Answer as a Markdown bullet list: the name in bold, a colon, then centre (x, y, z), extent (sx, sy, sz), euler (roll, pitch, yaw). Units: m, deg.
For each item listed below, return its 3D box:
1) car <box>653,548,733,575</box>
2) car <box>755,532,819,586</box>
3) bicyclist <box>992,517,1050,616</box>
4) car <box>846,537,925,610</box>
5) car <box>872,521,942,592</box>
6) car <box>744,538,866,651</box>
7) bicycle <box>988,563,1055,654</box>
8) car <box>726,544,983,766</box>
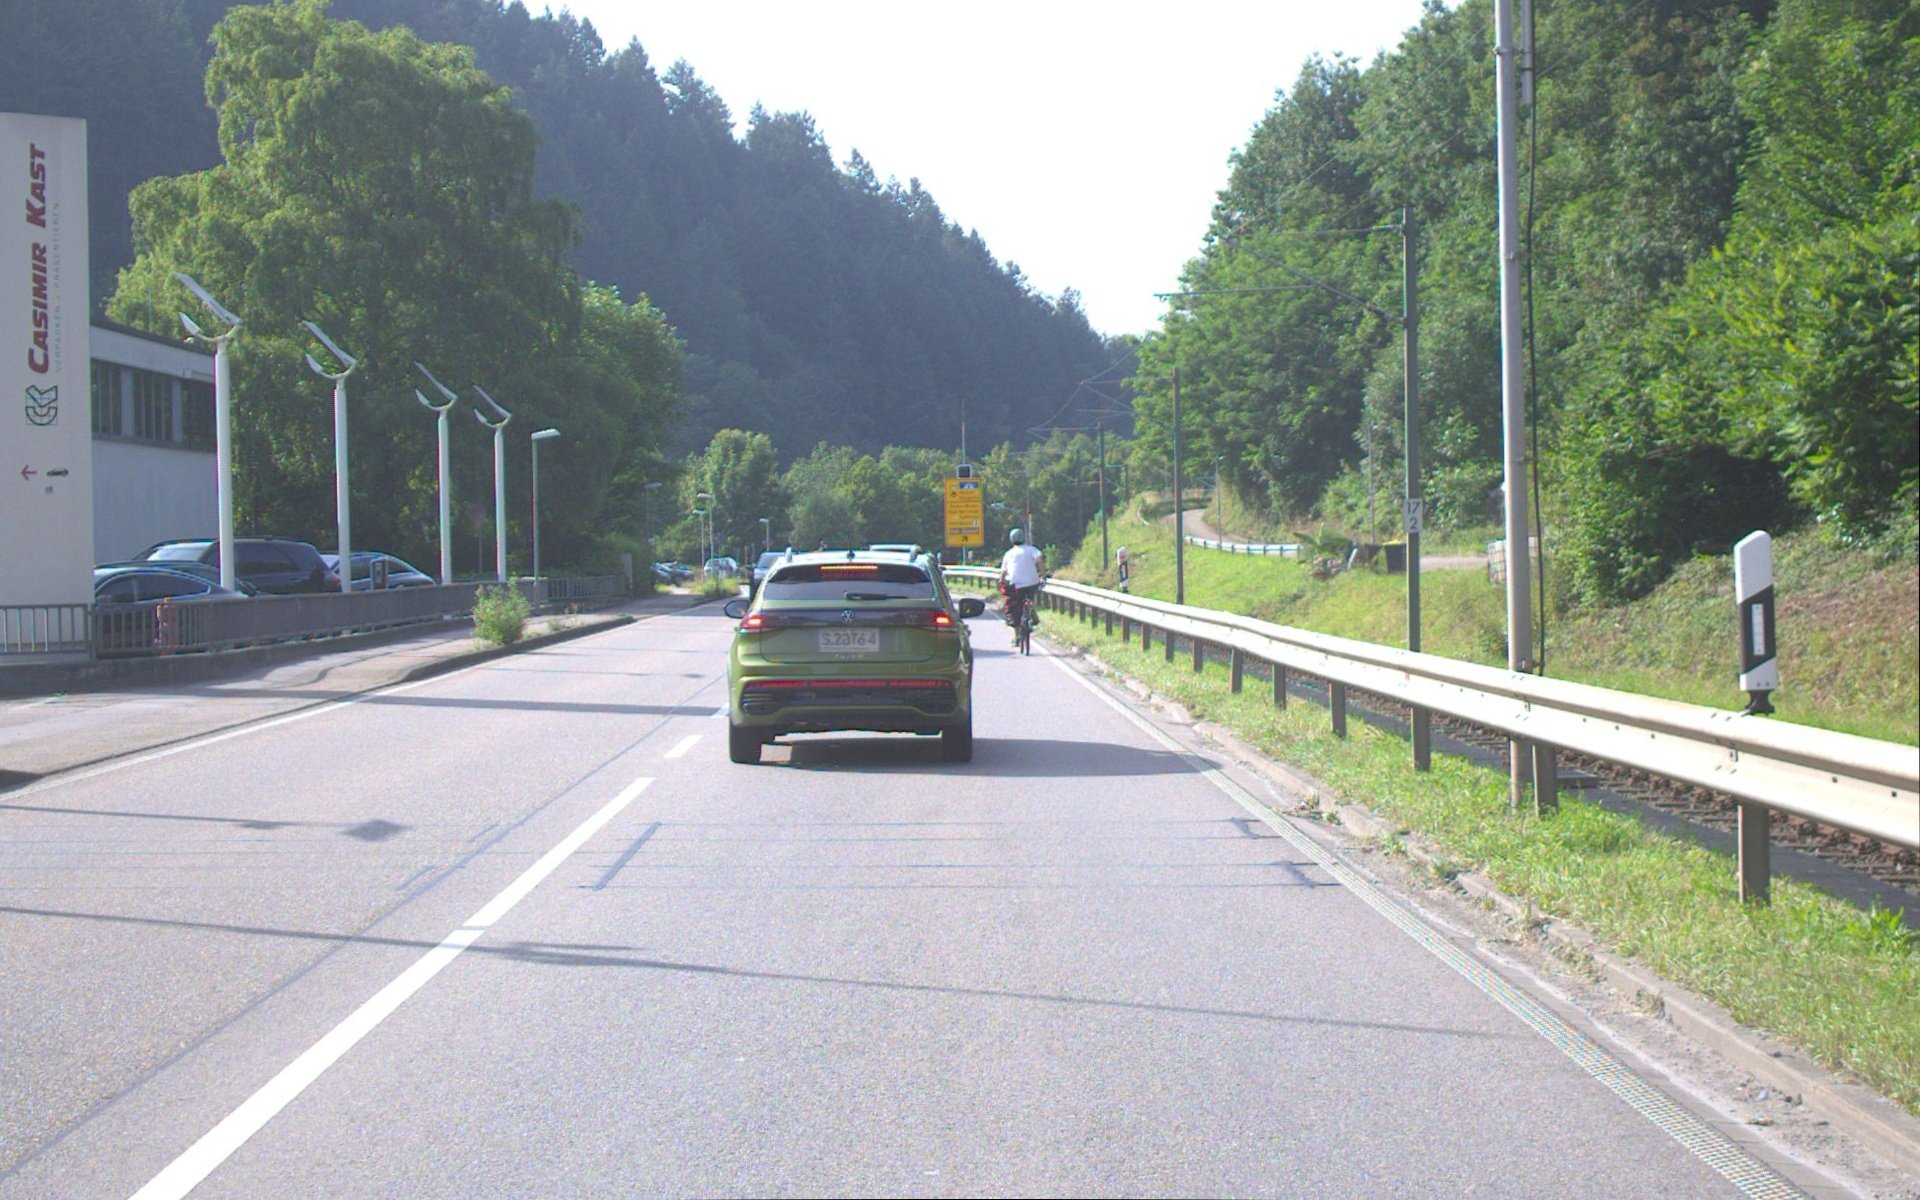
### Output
- **car**: centre (-14.720, -2.135, 189.467), extent (4.259, 1.428, 1.557), euler (-1, 1, 0)
- **car**: centre (-4.993, -1.205, 99.472), extent (1.677, 1.480, 4.246), euler (1, 1, -1)
- **bicyclist**: centre (0.871, -0.481, 49.145), extent (0.781, 1.407, 0.675), euler (-1, 1, -3)
- **car**: centre (-1.691, -0.622, 77.674), extent (1.739, 1.596, 4.000), euler (0, 1, -2)
- **car**: centre (-1.547, -1.284, 100.117), extent (1.993, 2.007, 4.000), euler (-1, 1, -1)
- **car**: centre (-2.262, -0.112, 50.899), extent (1.739, 1.596, 4.000), euler (0, 1, -2)
- **bicycle**: centre (0.872, 0.105, 49.140), extent (0.811, 1.246, 2.123), euler (-1, 1, -3)
- **car**: centre (-0.775, 0.342, 25.345), extent (1.739, 1.503, 4.000), euler (0, 1, -2)
